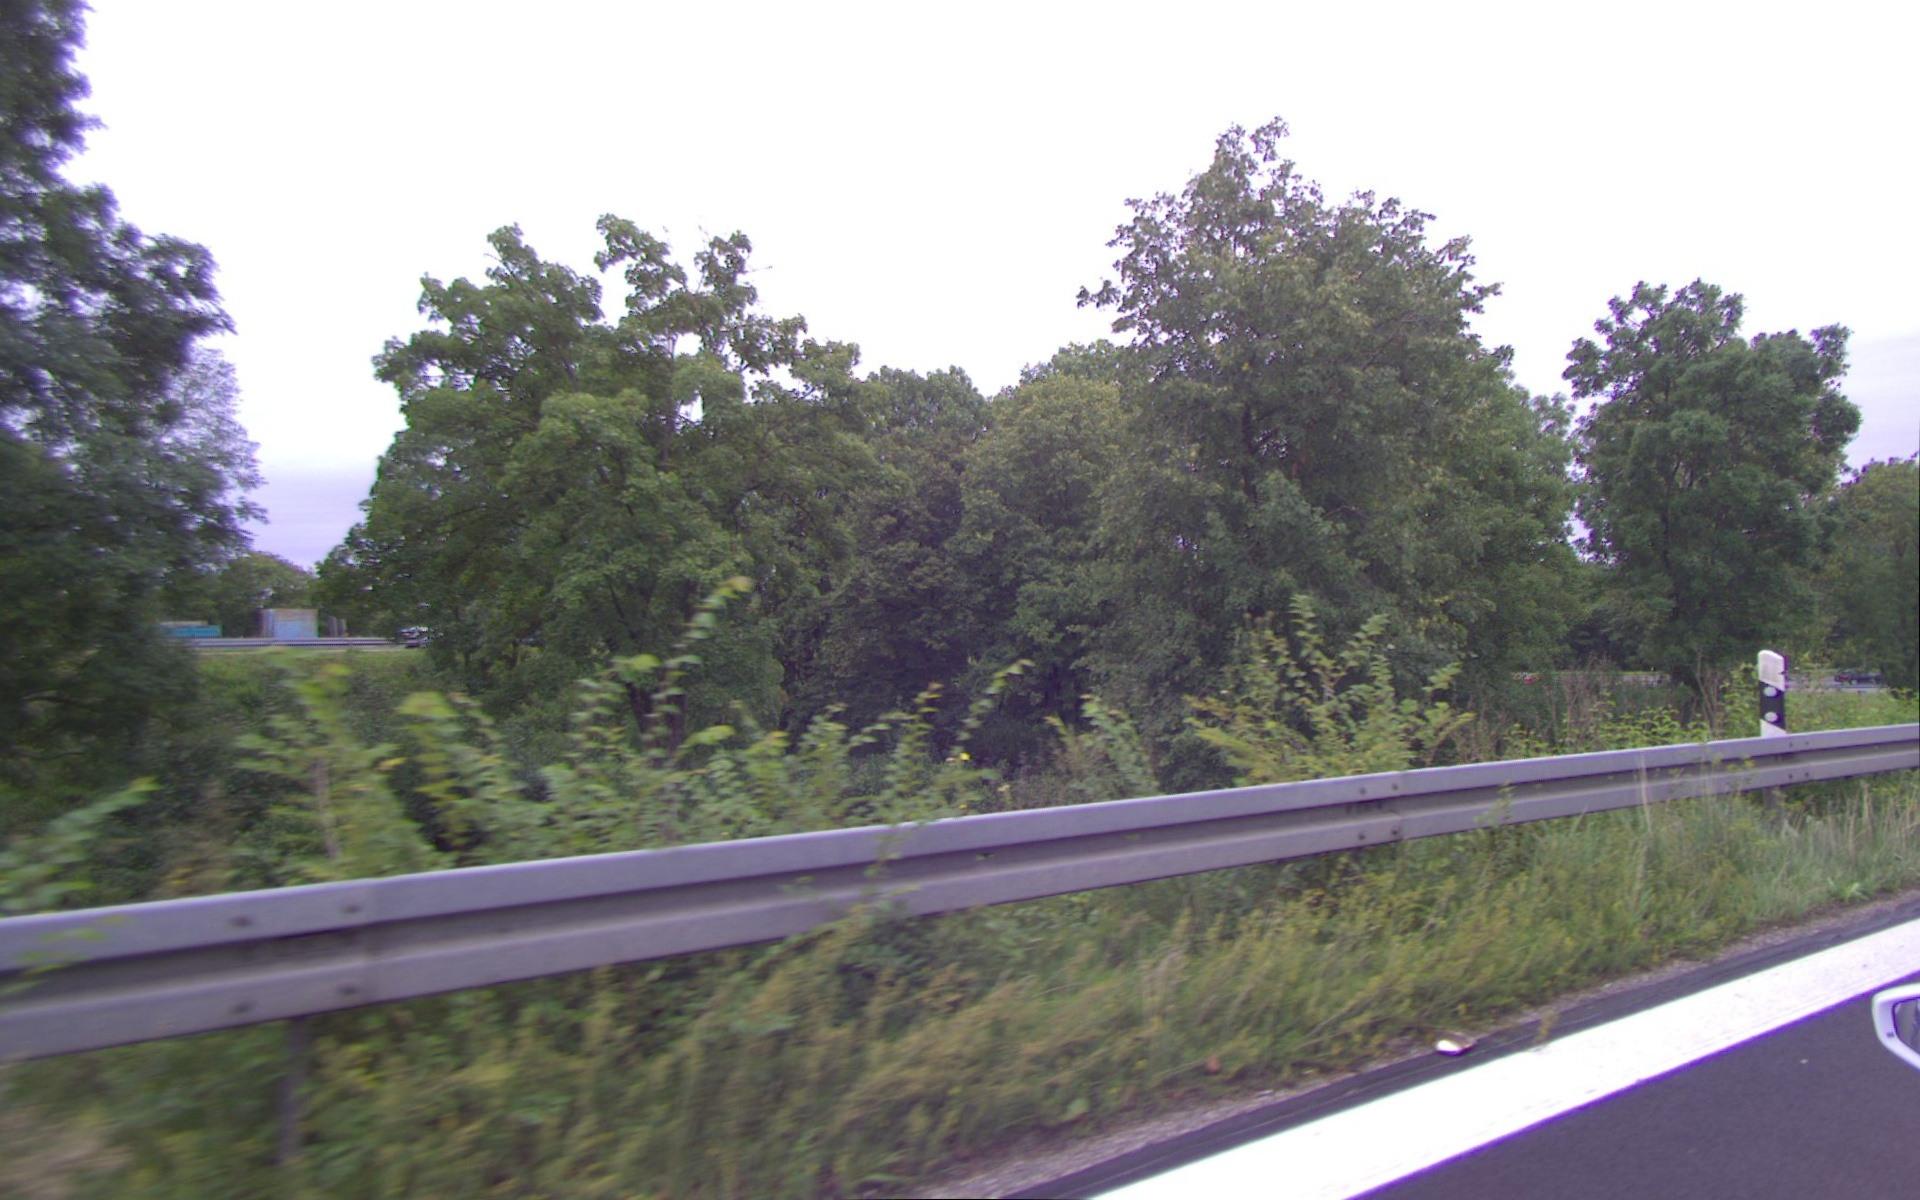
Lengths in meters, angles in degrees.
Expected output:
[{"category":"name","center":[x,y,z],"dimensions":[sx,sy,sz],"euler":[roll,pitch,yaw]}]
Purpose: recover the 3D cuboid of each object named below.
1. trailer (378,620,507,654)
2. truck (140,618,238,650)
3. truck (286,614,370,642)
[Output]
[{"category":"trailer","center":[-32.503,2.306,63.417],"dimensions":[2.448,2.021,7.051],"euler":[0,-1,29]},{"category":"truck","center":[-66.988,2.939,87.426],"dimensions":[2.213,2.664,6.439],"euler":[0,-2,30]},{"category":"truck","center":[-61.392,2.754,97.756],"dimensions":[2.559,2.664,6.438],"euler":[0,-2,31]}]
